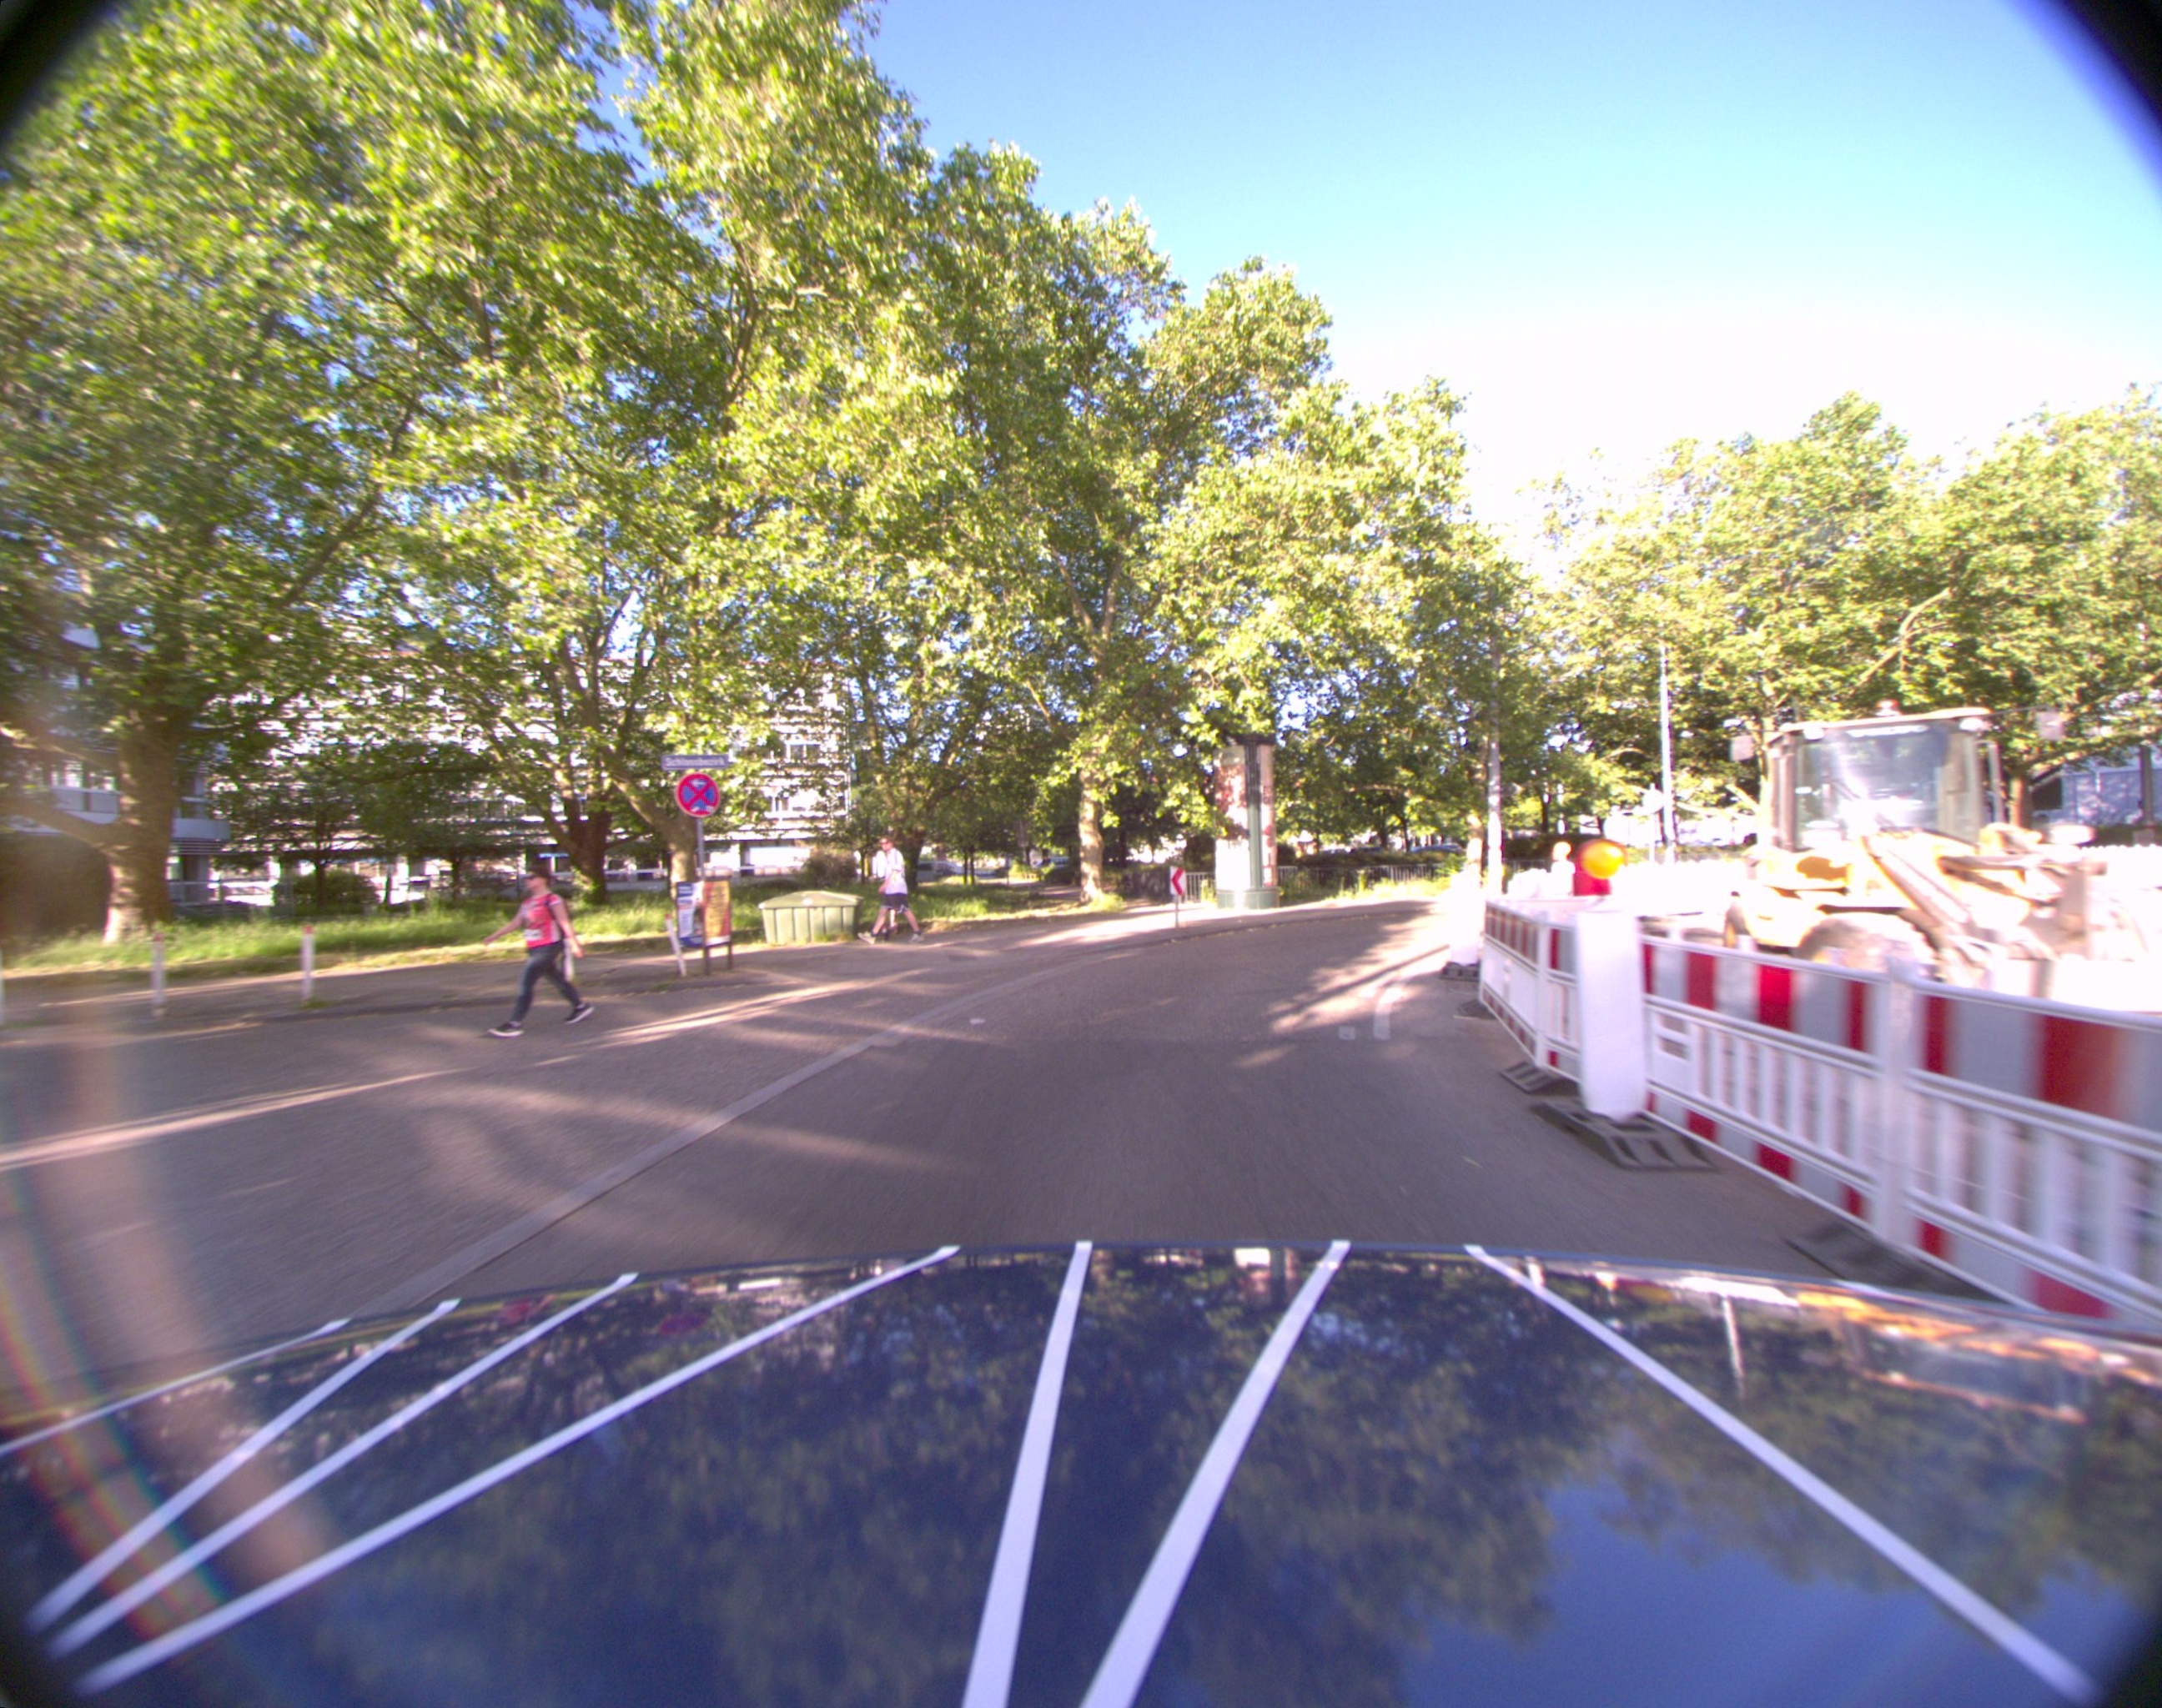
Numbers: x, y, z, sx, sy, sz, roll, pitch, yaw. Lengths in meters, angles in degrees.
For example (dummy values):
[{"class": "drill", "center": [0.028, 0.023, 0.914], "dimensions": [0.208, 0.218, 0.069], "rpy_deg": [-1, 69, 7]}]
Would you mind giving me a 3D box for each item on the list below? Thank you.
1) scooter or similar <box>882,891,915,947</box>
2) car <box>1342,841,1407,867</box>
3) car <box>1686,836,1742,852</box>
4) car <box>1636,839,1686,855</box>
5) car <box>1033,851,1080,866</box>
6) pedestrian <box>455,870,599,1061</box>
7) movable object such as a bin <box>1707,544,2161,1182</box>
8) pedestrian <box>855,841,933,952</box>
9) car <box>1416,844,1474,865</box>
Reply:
[{"class": "scooter or similar", "center": [-3.397, 1.190, 14.108], "dimensions": [0.420, 0.909, 1.148], "rpy_deg": [-3, 2, -21]}, {"class": "car", "center": [20.560, 0.001, 53.192], "dimensions": [4.001, 1.616, 1.552], "rpy_deg": [-1, -1, -13]}, {"class": "car", "center": [60.306, -0.926, 72.496], "dimensions": [1.631, 1.476, 3.845], "rpy_deg": [-2, 0, -15]}, {"class": "car", "center": [58.633, -0.693, 76.854], "dimensions": [1.631, 1.476, 3.845], "rpy_deg": [-2, 0, -15]}, {"class": "car", "center": [-2.663, 0.507, 82.164], "dimensions": [4.659, 1.466, 2.012], "rpy_deg": [-1, -1, -13]}, {"class": "pedestrian", "center": [-5.221, 0.989, 7.176], "dimensions": [0.941, 1.614, 0.708], "rpy_deg": [-3, 1, -45]}, {"class": "movable object such as a bin", "center": [7.088, -0.027, 5.863], "dimensions": [2.560, 3.014, 5.942], "rpy_deg": [-1, 1, 31]}, {"class": "pedestrian", "center": [-3.217, 0.709, 13.043], "dimensions": [1.135, 1.802, 0.746], "rpy_deg": [-2, -1, -24]}, {"class": "car", "center": [30.374, 0.073, 63.443], "dimensions": [4.001, 1.616, 1.922], "rpy_deg": [-1, -1, -13]}]
